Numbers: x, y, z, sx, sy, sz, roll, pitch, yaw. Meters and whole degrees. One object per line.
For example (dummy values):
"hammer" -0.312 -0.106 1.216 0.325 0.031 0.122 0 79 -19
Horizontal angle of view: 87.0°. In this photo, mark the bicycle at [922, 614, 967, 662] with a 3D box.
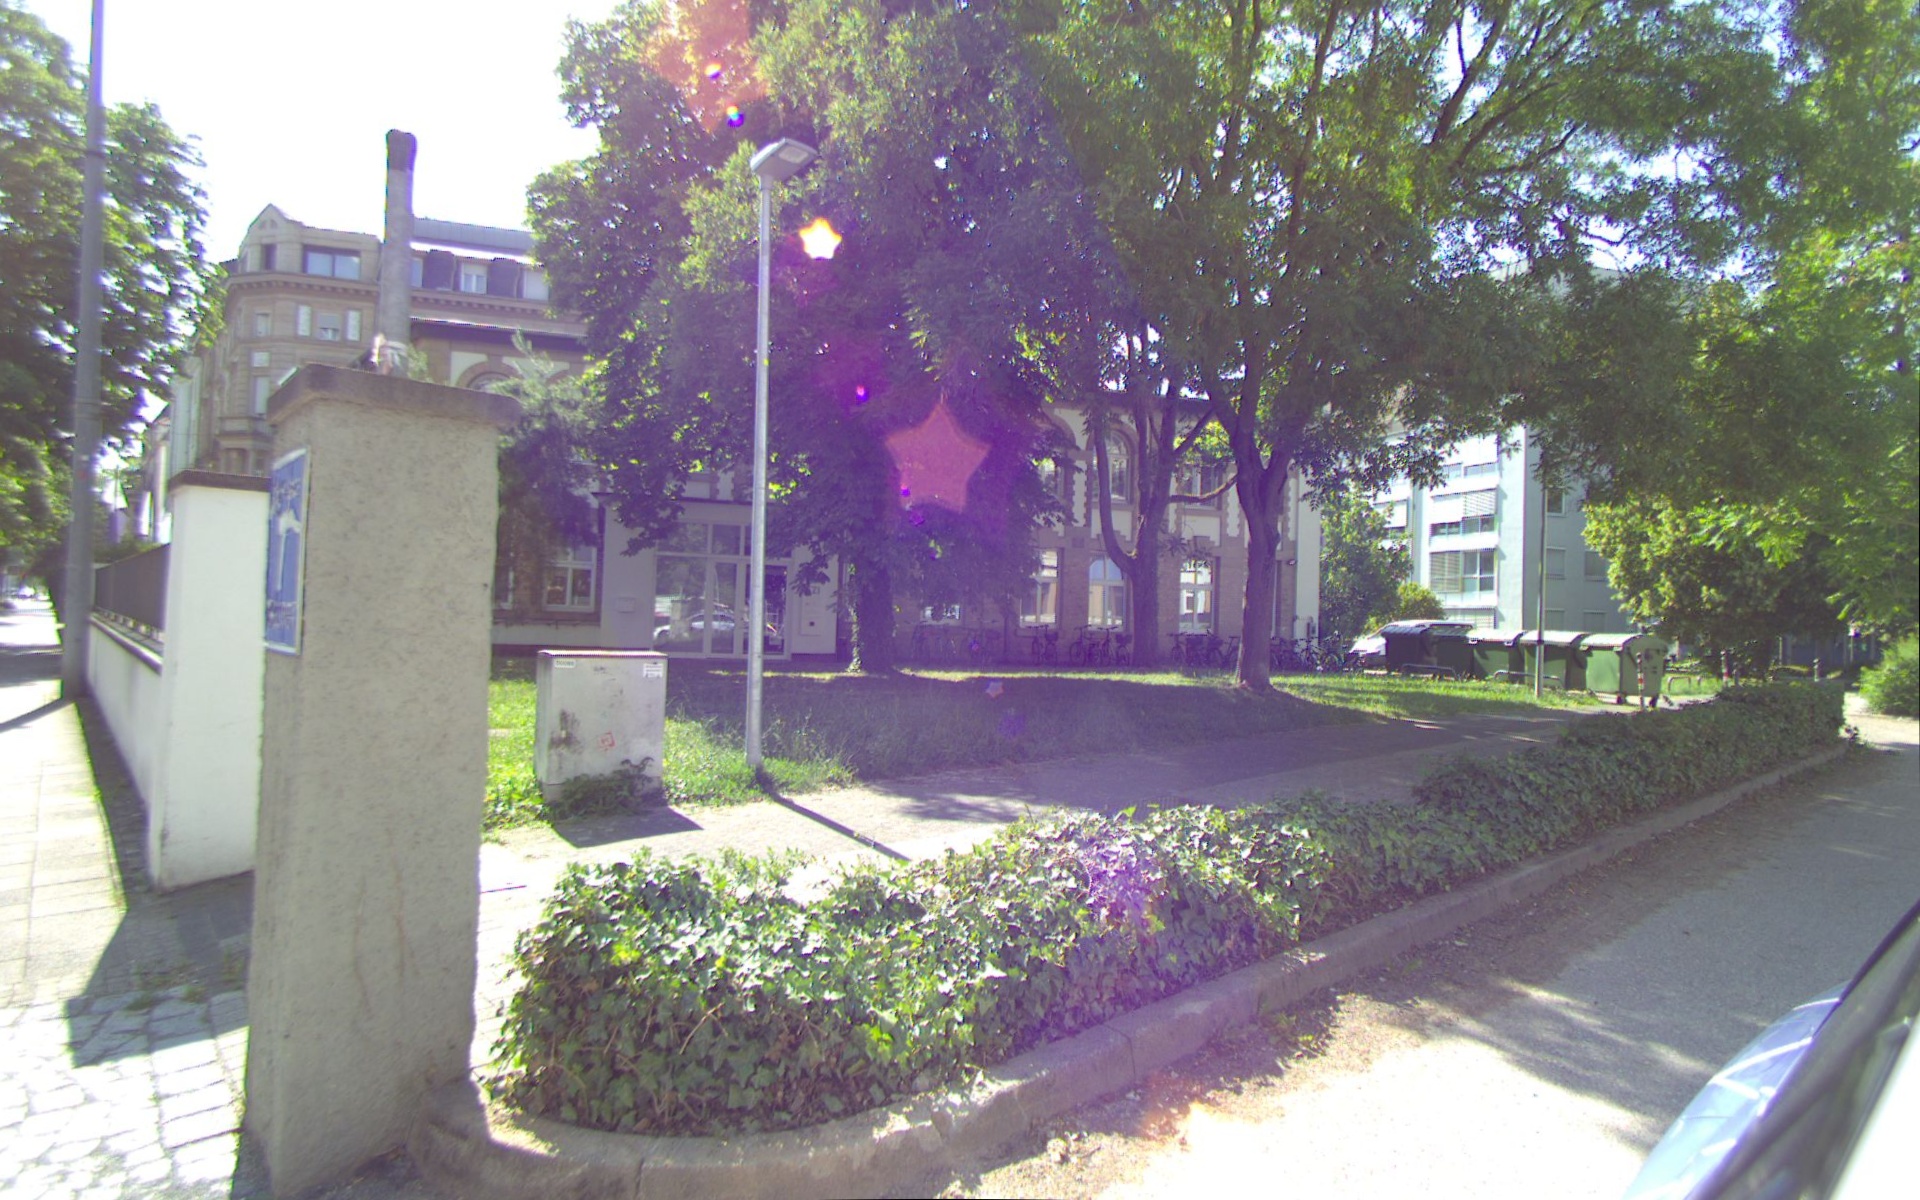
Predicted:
"bicycle" -0.415 0.962 26.125 0.575 1.176 2.107 2 -1 -17

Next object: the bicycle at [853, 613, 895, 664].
"bicycle" -2.145 0.934 25.012 0.575 1.176 2.107 2 -1 -17

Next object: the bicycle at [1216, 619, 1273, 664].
"bicycle" 7.925 1.136 28.286 0.575 1.176 1.925 2 -1 -17

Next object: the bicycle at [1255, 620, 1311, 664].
"bicycle" 9.149 1.172 28.710 0.484 1.176 1.918 2 -1 -17

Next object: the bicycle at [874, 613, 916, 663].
"bicycle" -1.658 0.944 25.622 0.575 1.176 2.107 2 -1 -17

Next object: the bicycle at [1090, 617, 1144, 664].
"bicycle" 4.216 1.073 27.368 0.575 1.176 2.107 2 -1 -17

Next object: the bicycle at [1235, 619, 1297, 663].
"bicycle" 8.606 1.133 28.567 0.575 1.176 2.107 2 -1 -17

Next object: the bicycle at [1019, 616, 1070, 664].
"bicycle" 2.212 1.032 26.765 0.575 1.176 2.107 2 -1 -17

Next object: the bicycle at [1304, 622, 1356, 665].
"bicycle" 10.592 1.225 29.038 0.496 1.176 1.808 2 -1 -12

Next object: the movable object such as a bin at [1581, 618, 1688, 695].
"movable object such as a bin" 13.781 1.125 20.716 1.191 1.481 1.393 1 -1 -5

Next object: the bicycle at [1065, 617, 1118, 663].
"bicycle" 3.500 1.048 27.114 0.575 1.176 2.107 2 -1 -17

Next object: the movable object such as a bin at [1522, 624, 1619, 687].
"movable object such as a bin" 13.324 1.197 22.122 1.190 1.317 1.358 2 -1 -20

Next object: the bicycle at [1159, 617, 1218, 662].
"bicycle" 6.258 1.060 27.838 0.575 1.176 2.107 2 -1 -17

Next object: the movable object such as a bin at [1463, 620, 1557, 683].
"movable object such as a bin" 12.769 1.183 23.547 1.190 1.379 1.505 2 -1 -20

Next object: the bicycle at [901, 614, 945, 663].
"bicycle" -0.963 0.957 25.829 0.575 1.176 2.107 2 -1 -17

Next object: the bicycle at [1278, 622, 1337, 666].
"bicycle" 9.940 1.235 29.002 0.600 1.176 1.855 2 -1 -17

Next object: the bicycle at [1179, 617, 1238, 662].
"bicycle" 6.870 1.065 28.081 0.575 1.176 2.107 2 -1 -17

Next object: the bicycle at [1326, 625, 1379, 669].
"bicycle" 11.217 1.320 28.966 0.546 1.176 1.947 1 -1 -7

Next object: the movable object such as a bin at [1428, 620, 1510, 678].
"movable object such as a bin" 12.592 1.196 25.074 1.190 1.366 1.355 2 -1 -20

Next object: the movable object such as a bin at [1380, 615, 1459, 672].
"movable object such as a bin" 12.036 1.131 26.551 1.224 1.427 1.439 2 -1 -21

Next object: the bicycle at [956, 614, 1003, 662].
"bicycle" 0.476 0.975 26.328 0.575 1.176 2.107 2 -1 -17
